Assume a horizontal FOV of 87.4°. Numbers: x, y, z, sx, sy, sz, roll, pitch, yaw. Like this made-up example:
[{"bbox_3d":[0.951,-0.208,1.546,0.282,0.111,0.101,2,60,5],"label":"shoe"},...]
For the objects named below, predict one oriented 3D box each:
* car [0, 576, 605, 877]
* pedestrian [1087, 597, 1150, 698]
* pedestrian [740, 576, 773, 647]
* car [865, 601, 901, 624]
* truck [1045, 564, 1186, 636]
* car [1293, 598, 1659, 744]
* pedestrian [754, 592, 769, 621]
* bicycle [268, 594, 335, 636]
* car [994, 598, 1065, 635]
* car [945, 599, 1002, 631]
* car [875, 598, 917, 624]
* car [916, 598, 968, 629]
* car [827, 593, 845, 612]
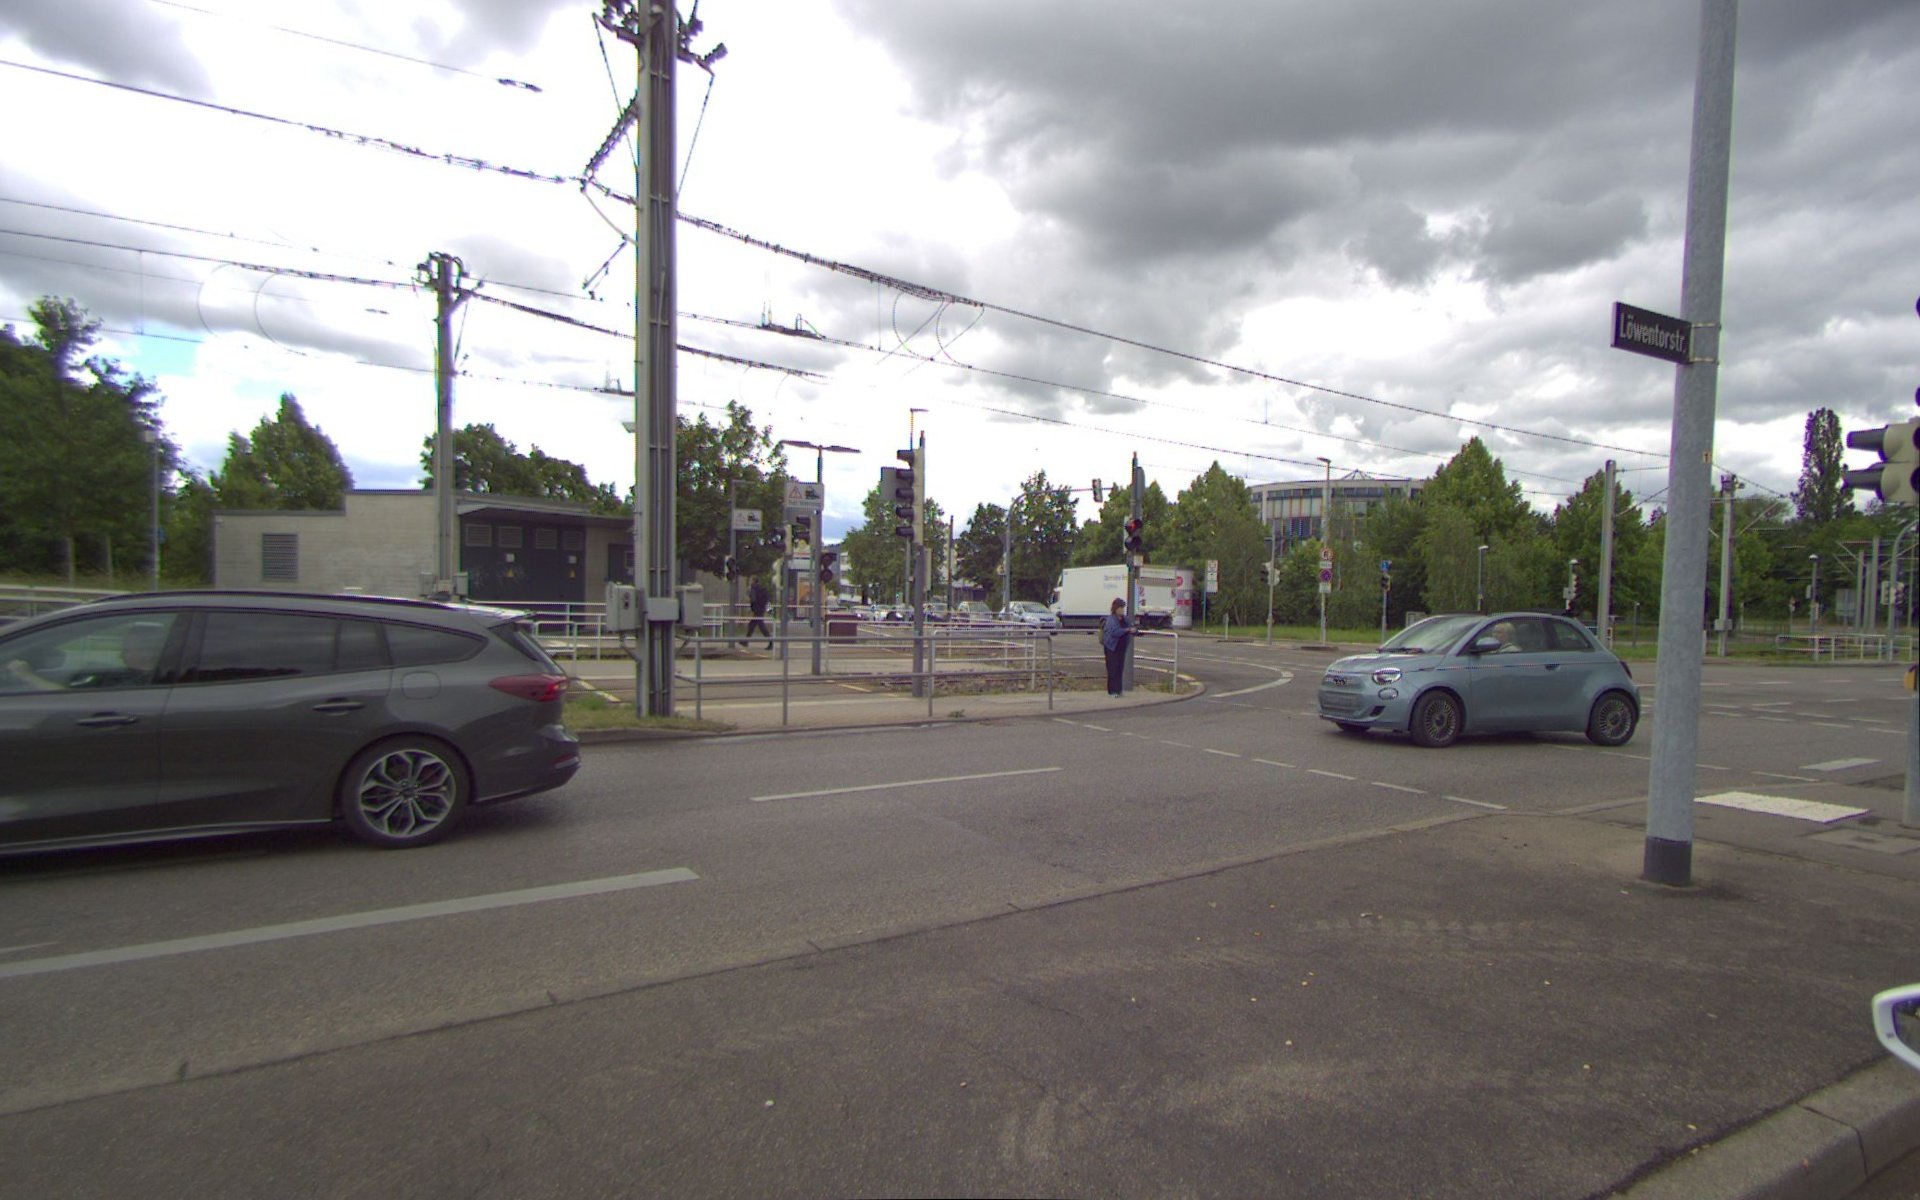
[{"bbox_3d":[-4.568,0.618,5.926,4.382,1.443,1.861,2,0,-31],"label":"car"},{"bbox_3d":[2.513,0.737,15.972,0.712,1.557,0.630,2,0,-33],"label":"pedestrian"},{"bbox_3d":[-5.148,0.300,25.361,0.700,1.751,0.674,2,0,-19],"label":"pedestrian"},{"bbox_3d":[-5.768,0.922,74.896,1.775,1.617,3.985,2,0,-17],"label":"car"},{"bbox_3d":[8.213,-0.022,54.643,2.975,3.580,9.225,1,0,-25],"label":"truck"},{"bbox_3d":[6.050,0.806,11.964,3.537,1.548,1.758,2,0,-11],"label":"car"},{"bbox_3d":[-9.533,0.292,48.339,0.593,1.377,0.614,2,0,-19],"label":"pedestrian"},{"bbox_3d":[-17.420,0.388,26.566,1.778,1.045,0.536,2,0,21],"label":"bicycle"},{"bbox_3d":[3.194,0.730,46.897,1.848,1.617,3.982,2,0,-20],"label":"car"},{"bbox_3d":[0.664,0.791,53.863,1.776,1.617,3.982,2,0,-20],"label":"car"},{"bbox_3d":[-4.317,0.705,67.487,1.776,1.617,3.982,2,0,-20],"label":"car"},{"bbox_3d":[-1.067,0.758,58.036,1.776,1.617,3.982,2,0,-20],"label":"car"},{"bbox_3d":[-14.620,0.286,118.106,1.964,2.218,5.800,1,0,-9],"label":"car"}]
